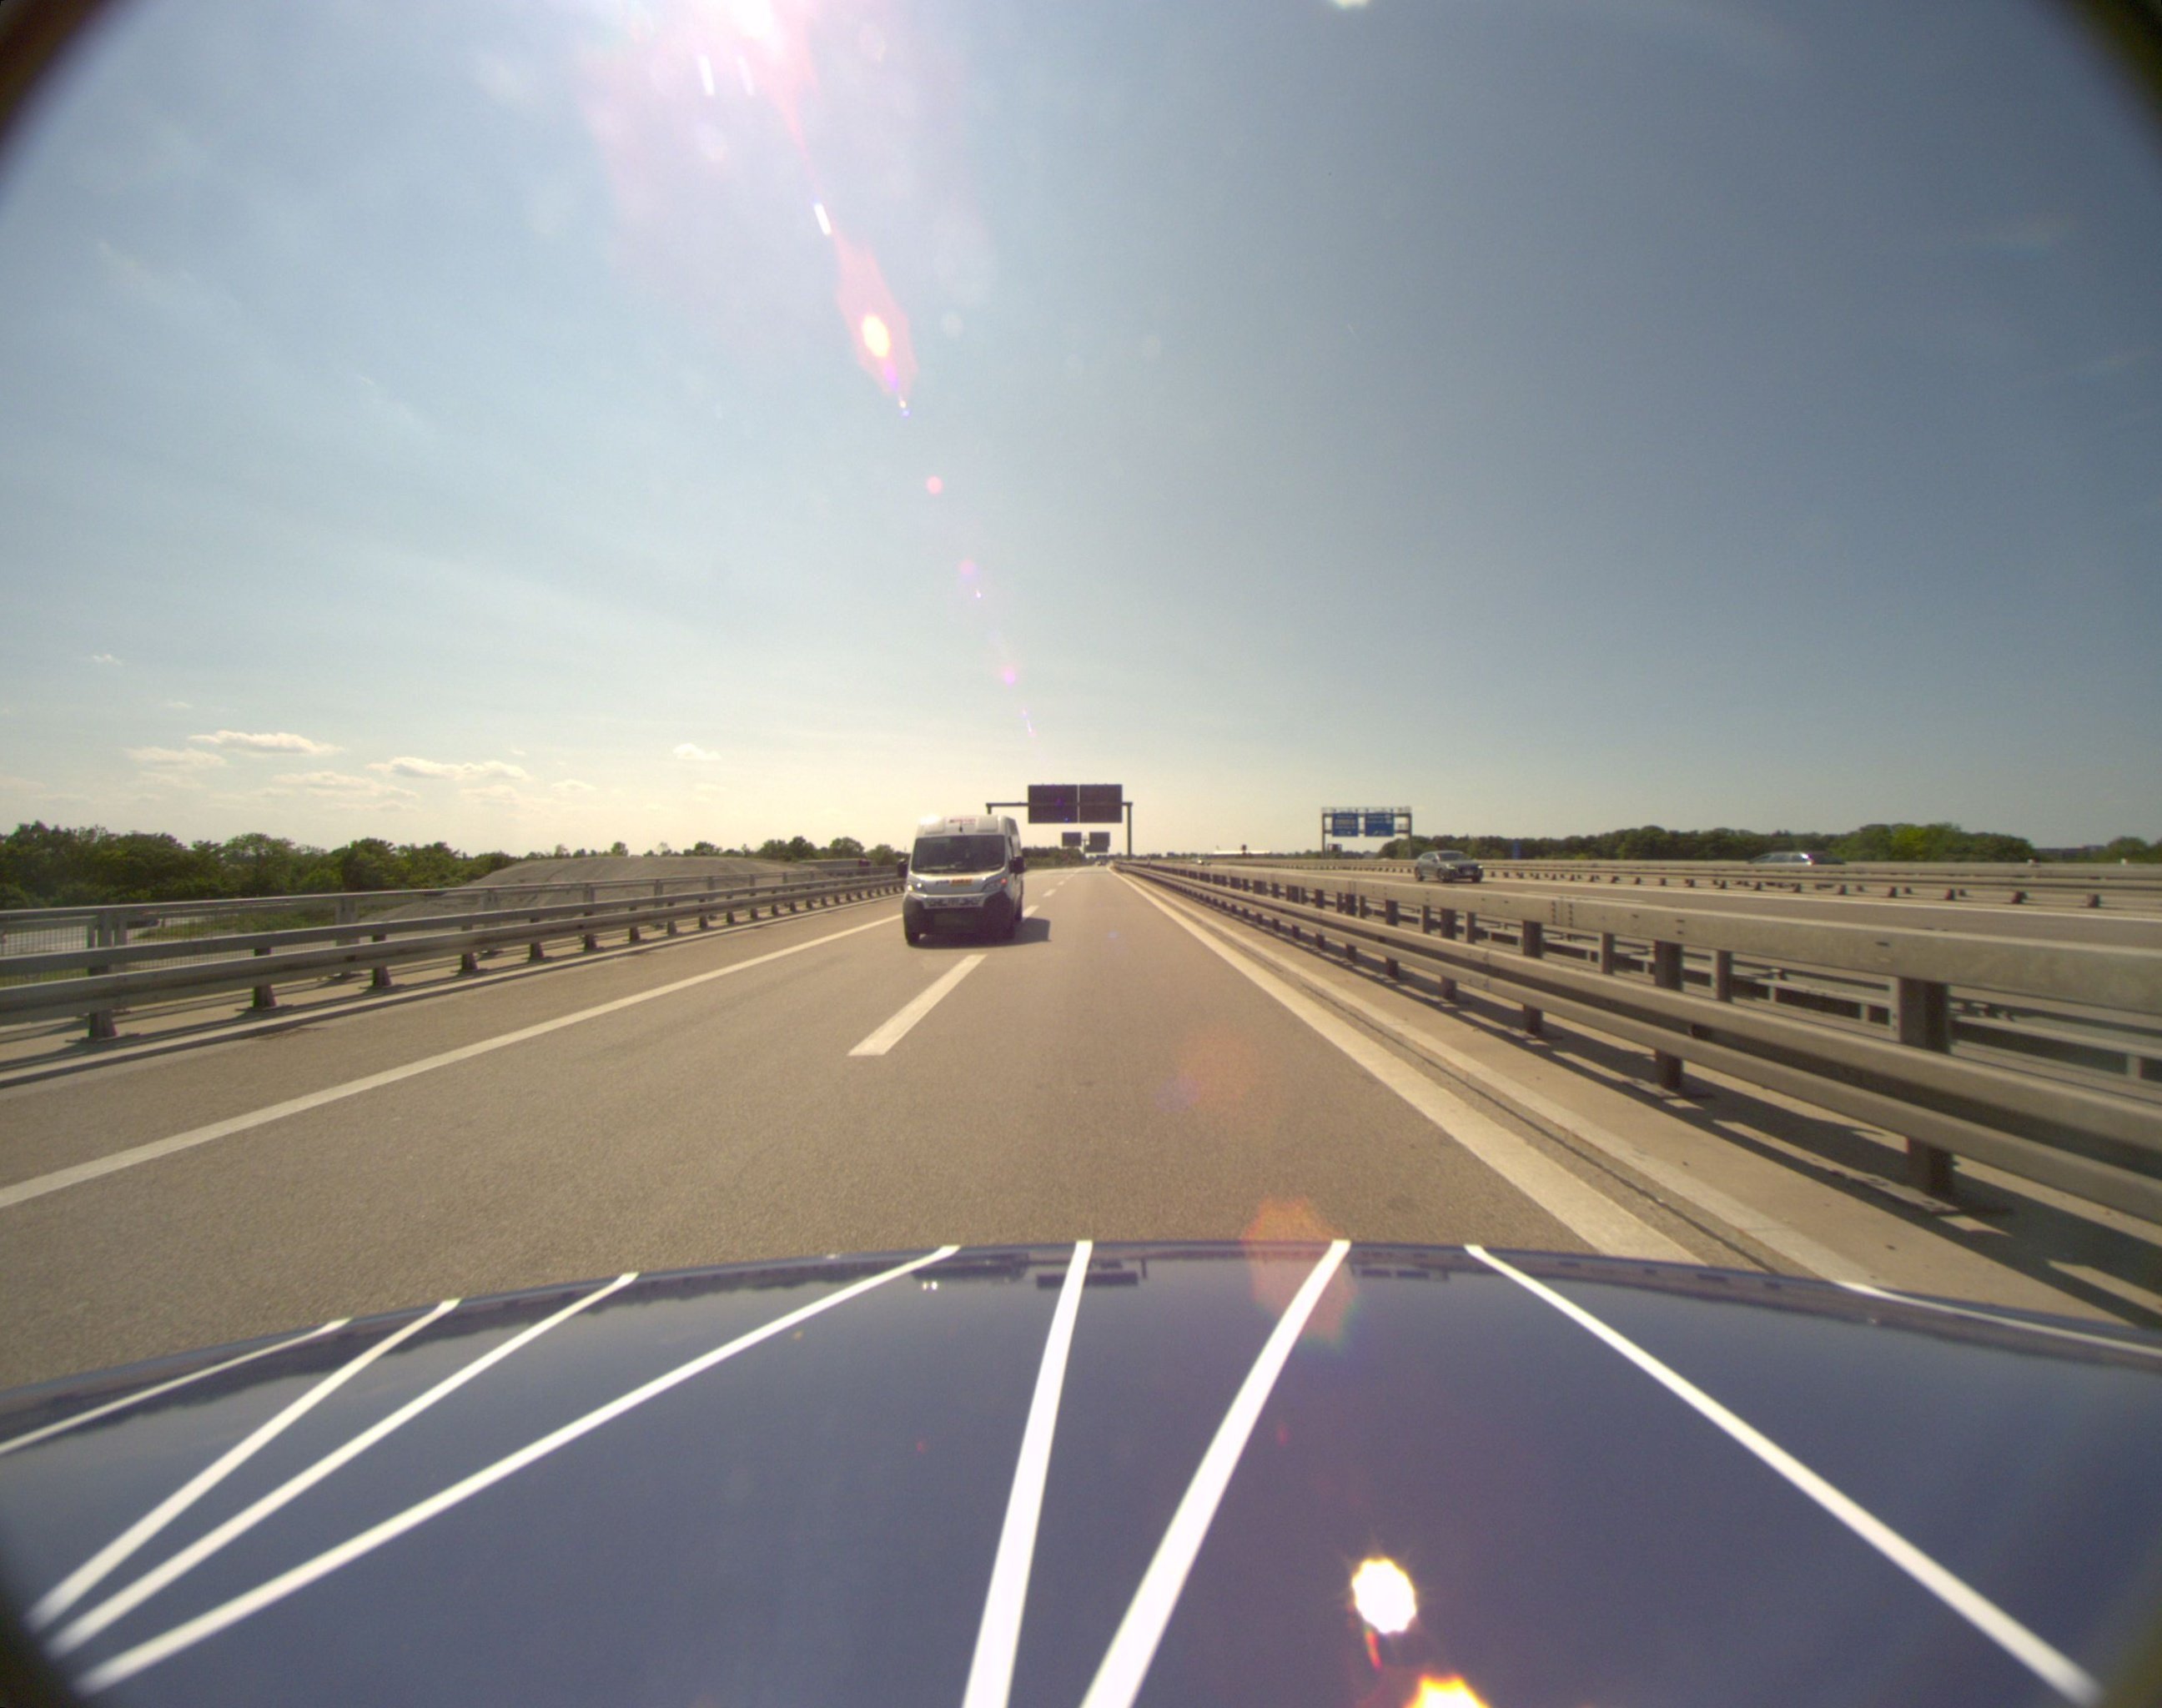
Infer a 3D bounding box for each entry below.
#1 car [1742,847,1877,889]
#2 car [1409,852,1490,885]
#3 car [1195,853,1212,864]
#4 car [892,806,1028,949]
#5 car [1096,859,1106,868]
[{"bbox_3d":[30.287,0.545,31.755,1.784,1.587,3.999,-1,0,0],"label":"car"},{"bbox_3d":[18.211,0.690,37.781,1.842,1.508,4.575,-1,0,1],"label":"car"},{"bbox_3d":[18.715,0.674,116.333,1.842,1.508,4.575,-1,0,1],"label":"car"},{"bbox_3d":[-2.368,0.442,16.596,2.087,2.509,6.236,-1,0,-1],"label":"car"},{"bbox_3d":[4.301,1.936,161.012,1.998,1.744,4.000,-1,0,2],"label":"car"}]
